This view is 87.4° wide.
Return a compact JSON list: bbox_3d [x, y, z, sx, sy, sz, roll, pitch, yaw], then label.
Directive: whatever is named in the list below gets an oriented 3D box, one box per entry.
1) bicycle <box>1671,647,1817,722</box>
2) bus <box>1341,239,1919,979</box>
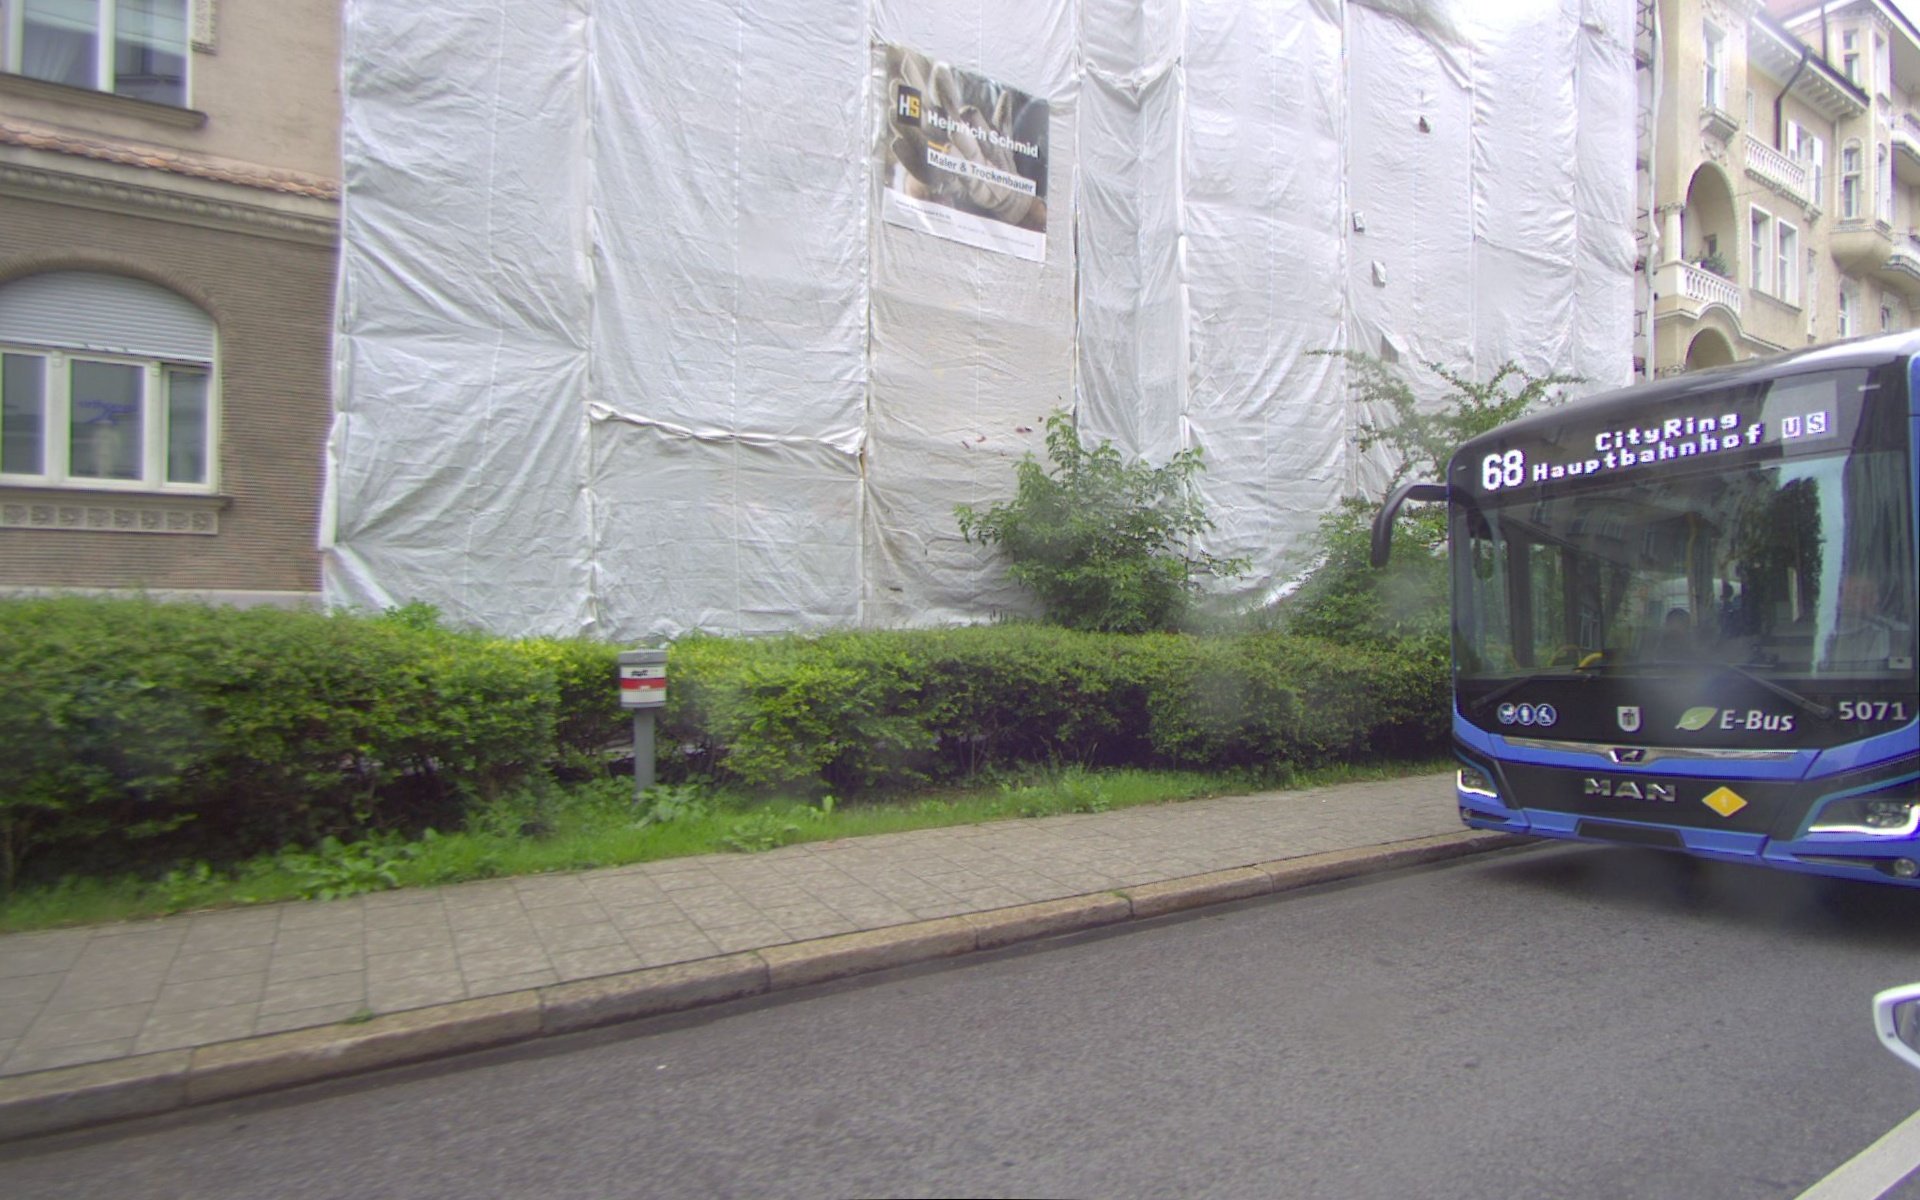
[{"bbox_3d":[13.758,1.451,17.689,0.682,1.092,1.851,1,2,-29],"label":"bicycle"},{"bbox_3d":[11.191,0.307,10.228,17.845,3.254,3.157,1,-3,-30],"label":"bus"}]
